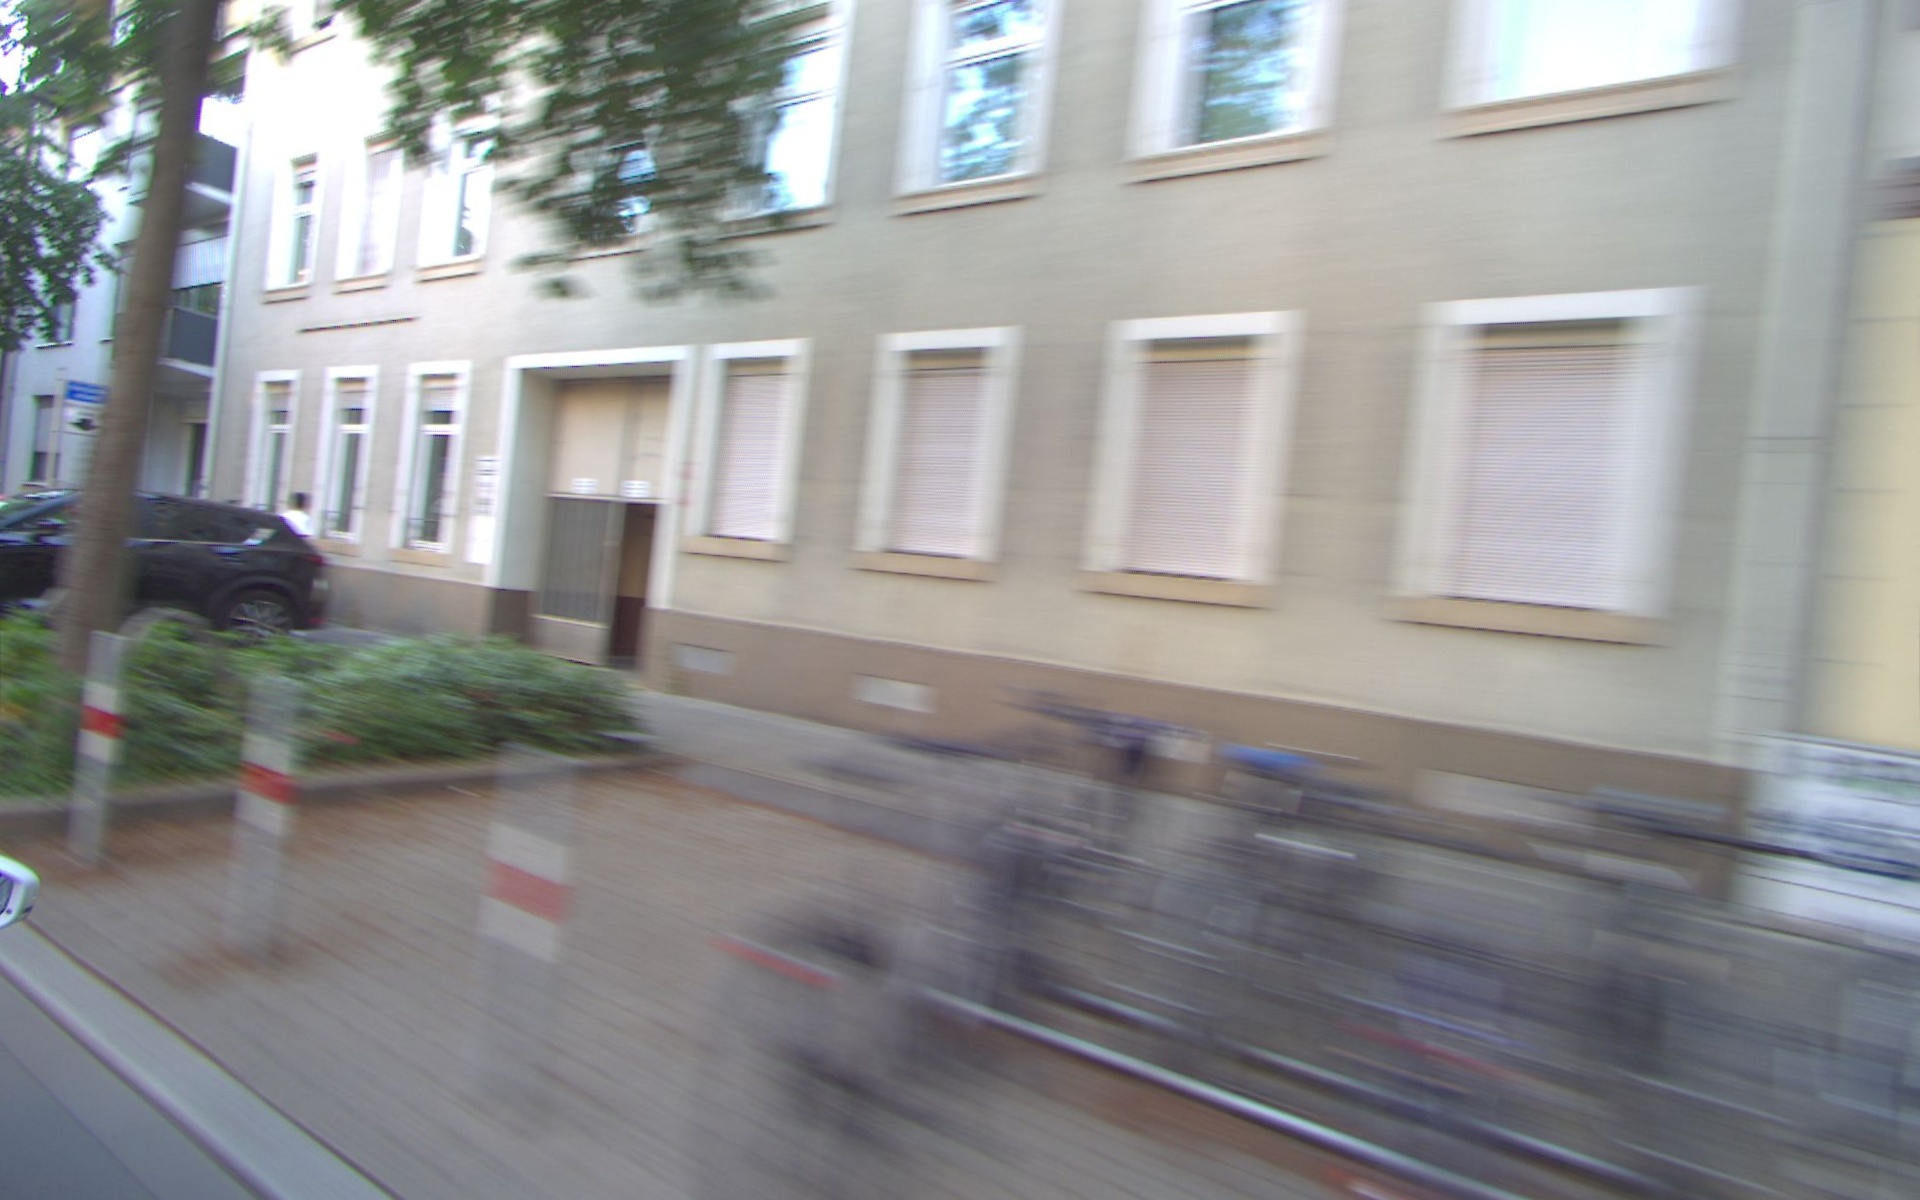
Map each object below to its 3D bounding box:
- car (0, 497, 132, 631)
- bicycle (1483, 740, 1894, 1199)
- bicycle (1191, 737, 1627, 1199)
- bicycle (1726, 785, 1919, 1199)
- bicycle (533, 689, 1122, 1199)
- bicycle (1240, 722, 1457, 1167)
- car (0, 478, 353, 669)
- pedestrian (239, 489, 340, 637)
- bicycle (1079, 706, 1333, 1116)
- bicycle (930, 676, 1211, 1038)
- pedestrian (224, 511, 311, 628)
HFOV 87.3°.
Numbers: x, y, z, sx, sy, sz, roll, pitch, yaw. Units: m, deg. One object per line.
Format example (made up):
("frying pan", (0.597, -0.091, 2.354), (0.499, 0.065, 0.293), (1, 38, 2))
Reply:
("car", (-11.920, -0.540, 11.345), (1.867, 1.471, 3.488), (7, 0, 30))
("bicycle", (2.293, 1.178, 3.440), (0.639, 1.157, 1.799), (7, 1, 23))
("bicycle", (1.152, 1.031, 2.466), (0.590, 1.193, 1.831), (7, 1, 31))
("bicycle", (2.870, 1.255, 2.852), (0.652, 1.143, 1.798), (7, 1, 26))
("bicycle", (-0.170, 0.906, 2.802), (0.731, 1.150, 1.842), (7, 1, 22))
("bicycle", (1.550, 1.110, 3.826), (0.491, 1.121, 1.798), (7, 1, 26))
("car", (-8.992, -0.285, 10.165), (1.869, 1.676, 4.429), (7, 0, 33))
("pedestrian", (-8.484, -0.448, 12.754), (0.661, 1.759, 0.691), (6, 1, 1))
("bicycle", (1.066, 1.056, 4.009), (0.491, 1.121, 1.798), (7, 1, 26))
("bicycle", (0.592, 0.984, 4.517), (0.657, 1.157, 1.799), (7, 1, 23))
("pedestrian", (-9.827, -0.431, 14.276), (0.818, 1.556, 0.655), (7, 1, 33))
